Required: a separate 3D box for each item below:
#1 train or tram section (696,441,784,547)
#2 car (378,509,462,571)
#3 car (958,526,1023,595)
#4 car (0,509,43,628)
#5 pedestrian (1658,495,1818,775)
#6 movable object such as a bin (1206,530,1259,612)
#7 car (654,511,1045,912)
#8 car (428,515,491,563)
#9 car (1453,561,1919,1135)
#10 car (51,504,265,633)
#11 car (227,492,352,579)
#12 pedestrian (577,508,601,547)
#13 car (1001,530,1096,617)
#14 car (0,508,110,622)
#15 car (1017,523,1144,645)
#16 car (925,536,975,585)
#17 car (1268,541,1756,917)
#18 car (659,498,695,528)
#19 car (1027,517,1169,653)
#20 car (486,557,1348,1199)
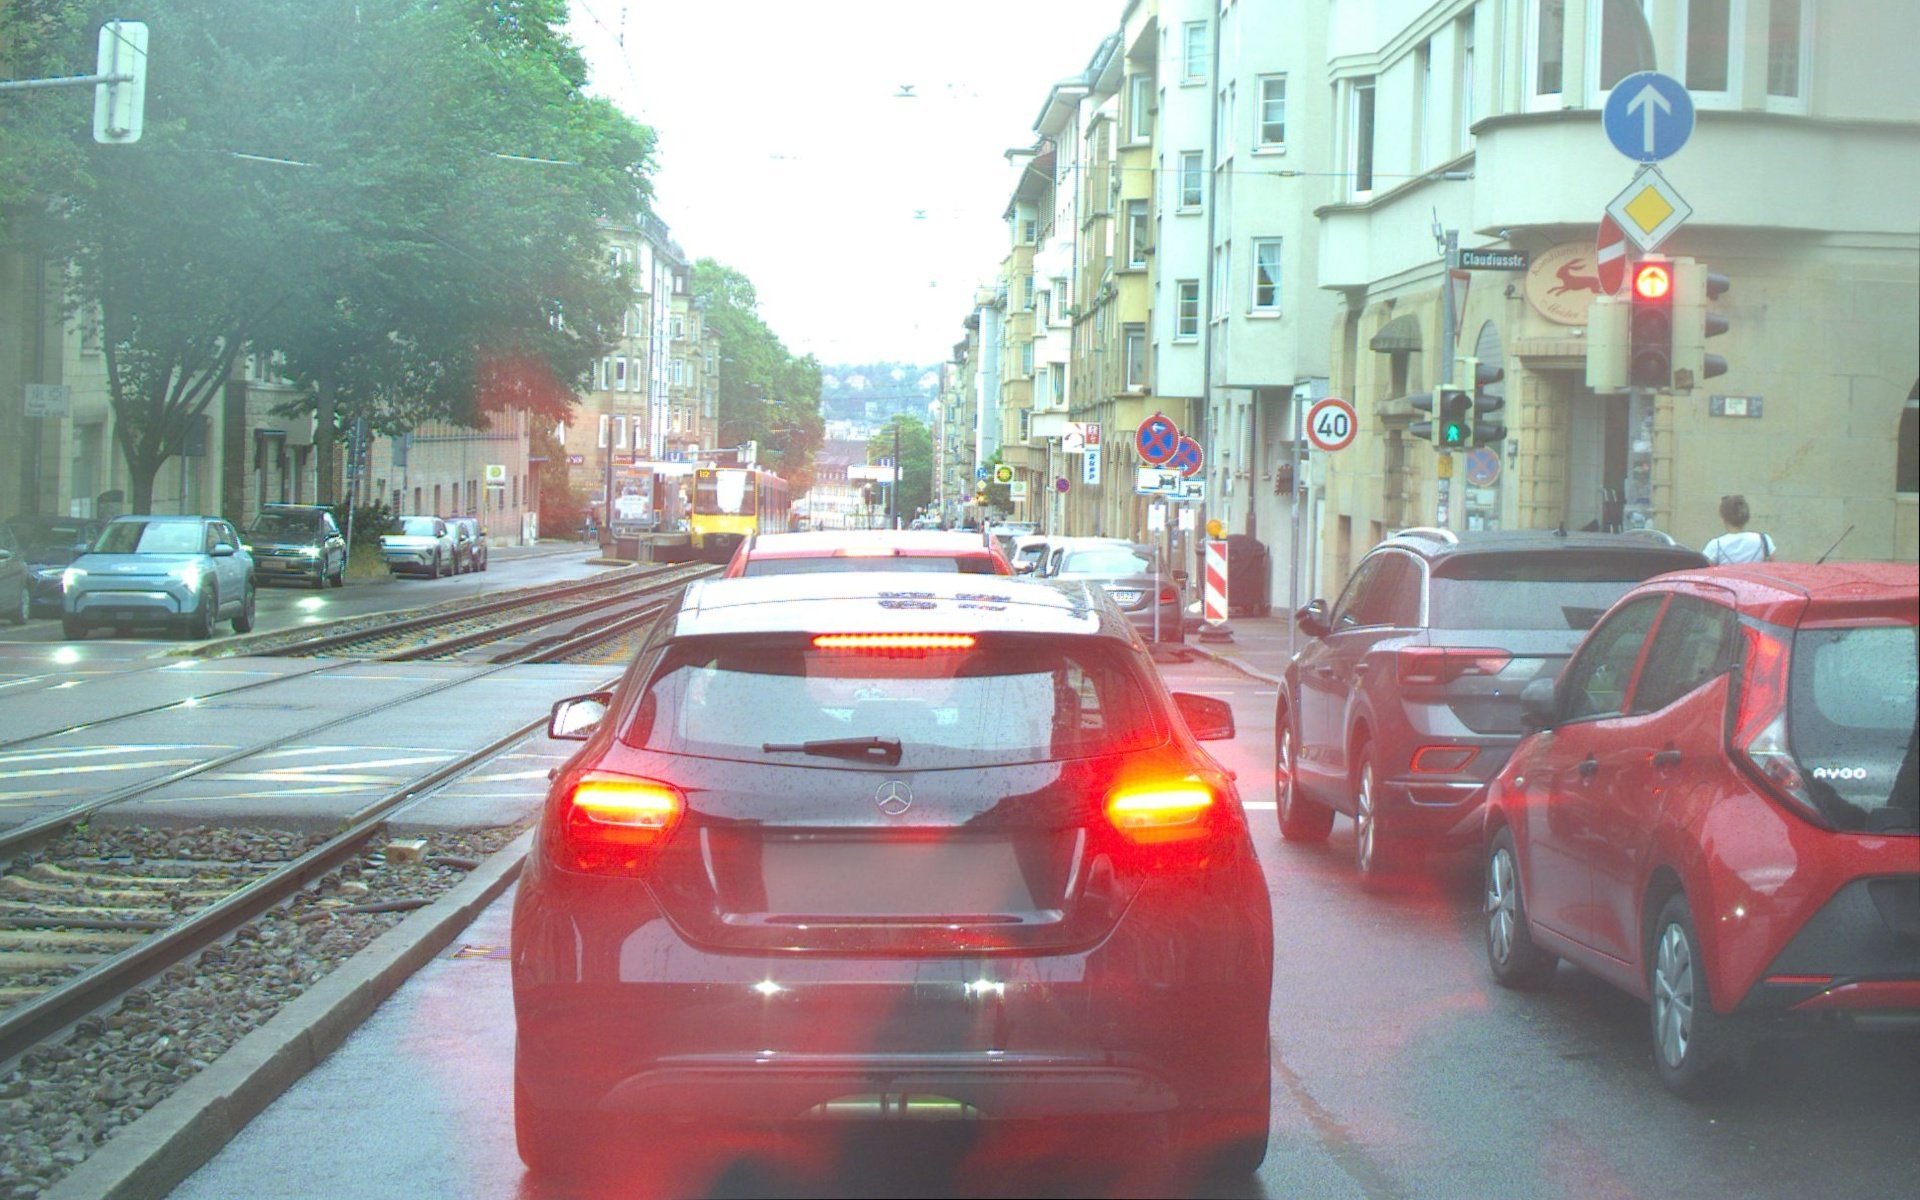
[{"bbox_3d":[-8.424,-4.009,132.625,2.783,3.847,10.430,1,0,-1],"label":"train or tram section"},{"bbox_3d":[-13.987,-1.540,89.154,1.589,1.575,3.918,1,0,-1],"label":"car"},{"bbox_3d":[0.642,-0.856,73.583,1.294,1.437,2.929,1,1,-1],"label":"car"},{"bbox_3d":[-13.476,-0.429,45.682,1.752,1.547,4.036,1,0,-4],"label":"car"},{"bbox_3d":[4.982,0.214,22.067,0.741,1.742,1.111,1,0,-1],"label":"pedestrian"},{"bbox_3d":[4.720,-0.501,59.561,0.878,1.384,0.982,1,0,3],"label":"movable object such as a bin"},{"bbox_3d":[-0.472,0.437,15.833,1.565,1.604,3.814,1,0,-1],"label":"car"},{"bbox_3d":[-14.330,-1.726,98.563,1.448,1.326,3.272,1,0,-2],"label":"car"},{"bbox_3d":[2.657,0.632,10.514,1.642,1.443,3.299,1,1,-3],"label":"car"},{"bbox_3d":[-10.451,-0.412,45.068,1.898,1.582,3.973,1,0,-1],"label":"car"},{"bbox_3d":[-13.949,-1.323,71.691,1.875,1.731,3.918,1,0,-1],"label":"car"},{"bbox_3d":[-19.132,-3.738,177.258,1.053,1.951,1.043,2,1,1],"label":"pedestrian"},{"bbox_3d":[1.561,-0.498,61.514,1.544,1.481,3.548,1,1,-1],"label":"car"},{"bbox_3d":[-13.728,-0.517,50.712,1.716,1.605,3.919,1,0,-5],"label":"car"},{"bbox_3d":[1.620,-0.245,47.104,1.544,1.585,3.548,1,1,-1],"label":"car"},{"bbox_3d":[-0.325,-1.368,119.098,1.545,1.630,3.686,1,1,2],"label":"car"},{"bbox_3d":[2.393,0.488,15.752,1.544,1.481,3.830,1,1,-1],"label":"car"},{"bbox_3d":[-12.344,-3.788,150.064,1.377,1.245,3.298,1,0,-2],"label":"car"},{"bbox_3d":[1.676,-0.208,42.629,1.544,1.585,3.548,1,1,-1],"label":"car"},{"bbox_3d":[-0.119,0.638,9.446,1.829,1.453,4.104,1,1,-1],"label":"car"}]
